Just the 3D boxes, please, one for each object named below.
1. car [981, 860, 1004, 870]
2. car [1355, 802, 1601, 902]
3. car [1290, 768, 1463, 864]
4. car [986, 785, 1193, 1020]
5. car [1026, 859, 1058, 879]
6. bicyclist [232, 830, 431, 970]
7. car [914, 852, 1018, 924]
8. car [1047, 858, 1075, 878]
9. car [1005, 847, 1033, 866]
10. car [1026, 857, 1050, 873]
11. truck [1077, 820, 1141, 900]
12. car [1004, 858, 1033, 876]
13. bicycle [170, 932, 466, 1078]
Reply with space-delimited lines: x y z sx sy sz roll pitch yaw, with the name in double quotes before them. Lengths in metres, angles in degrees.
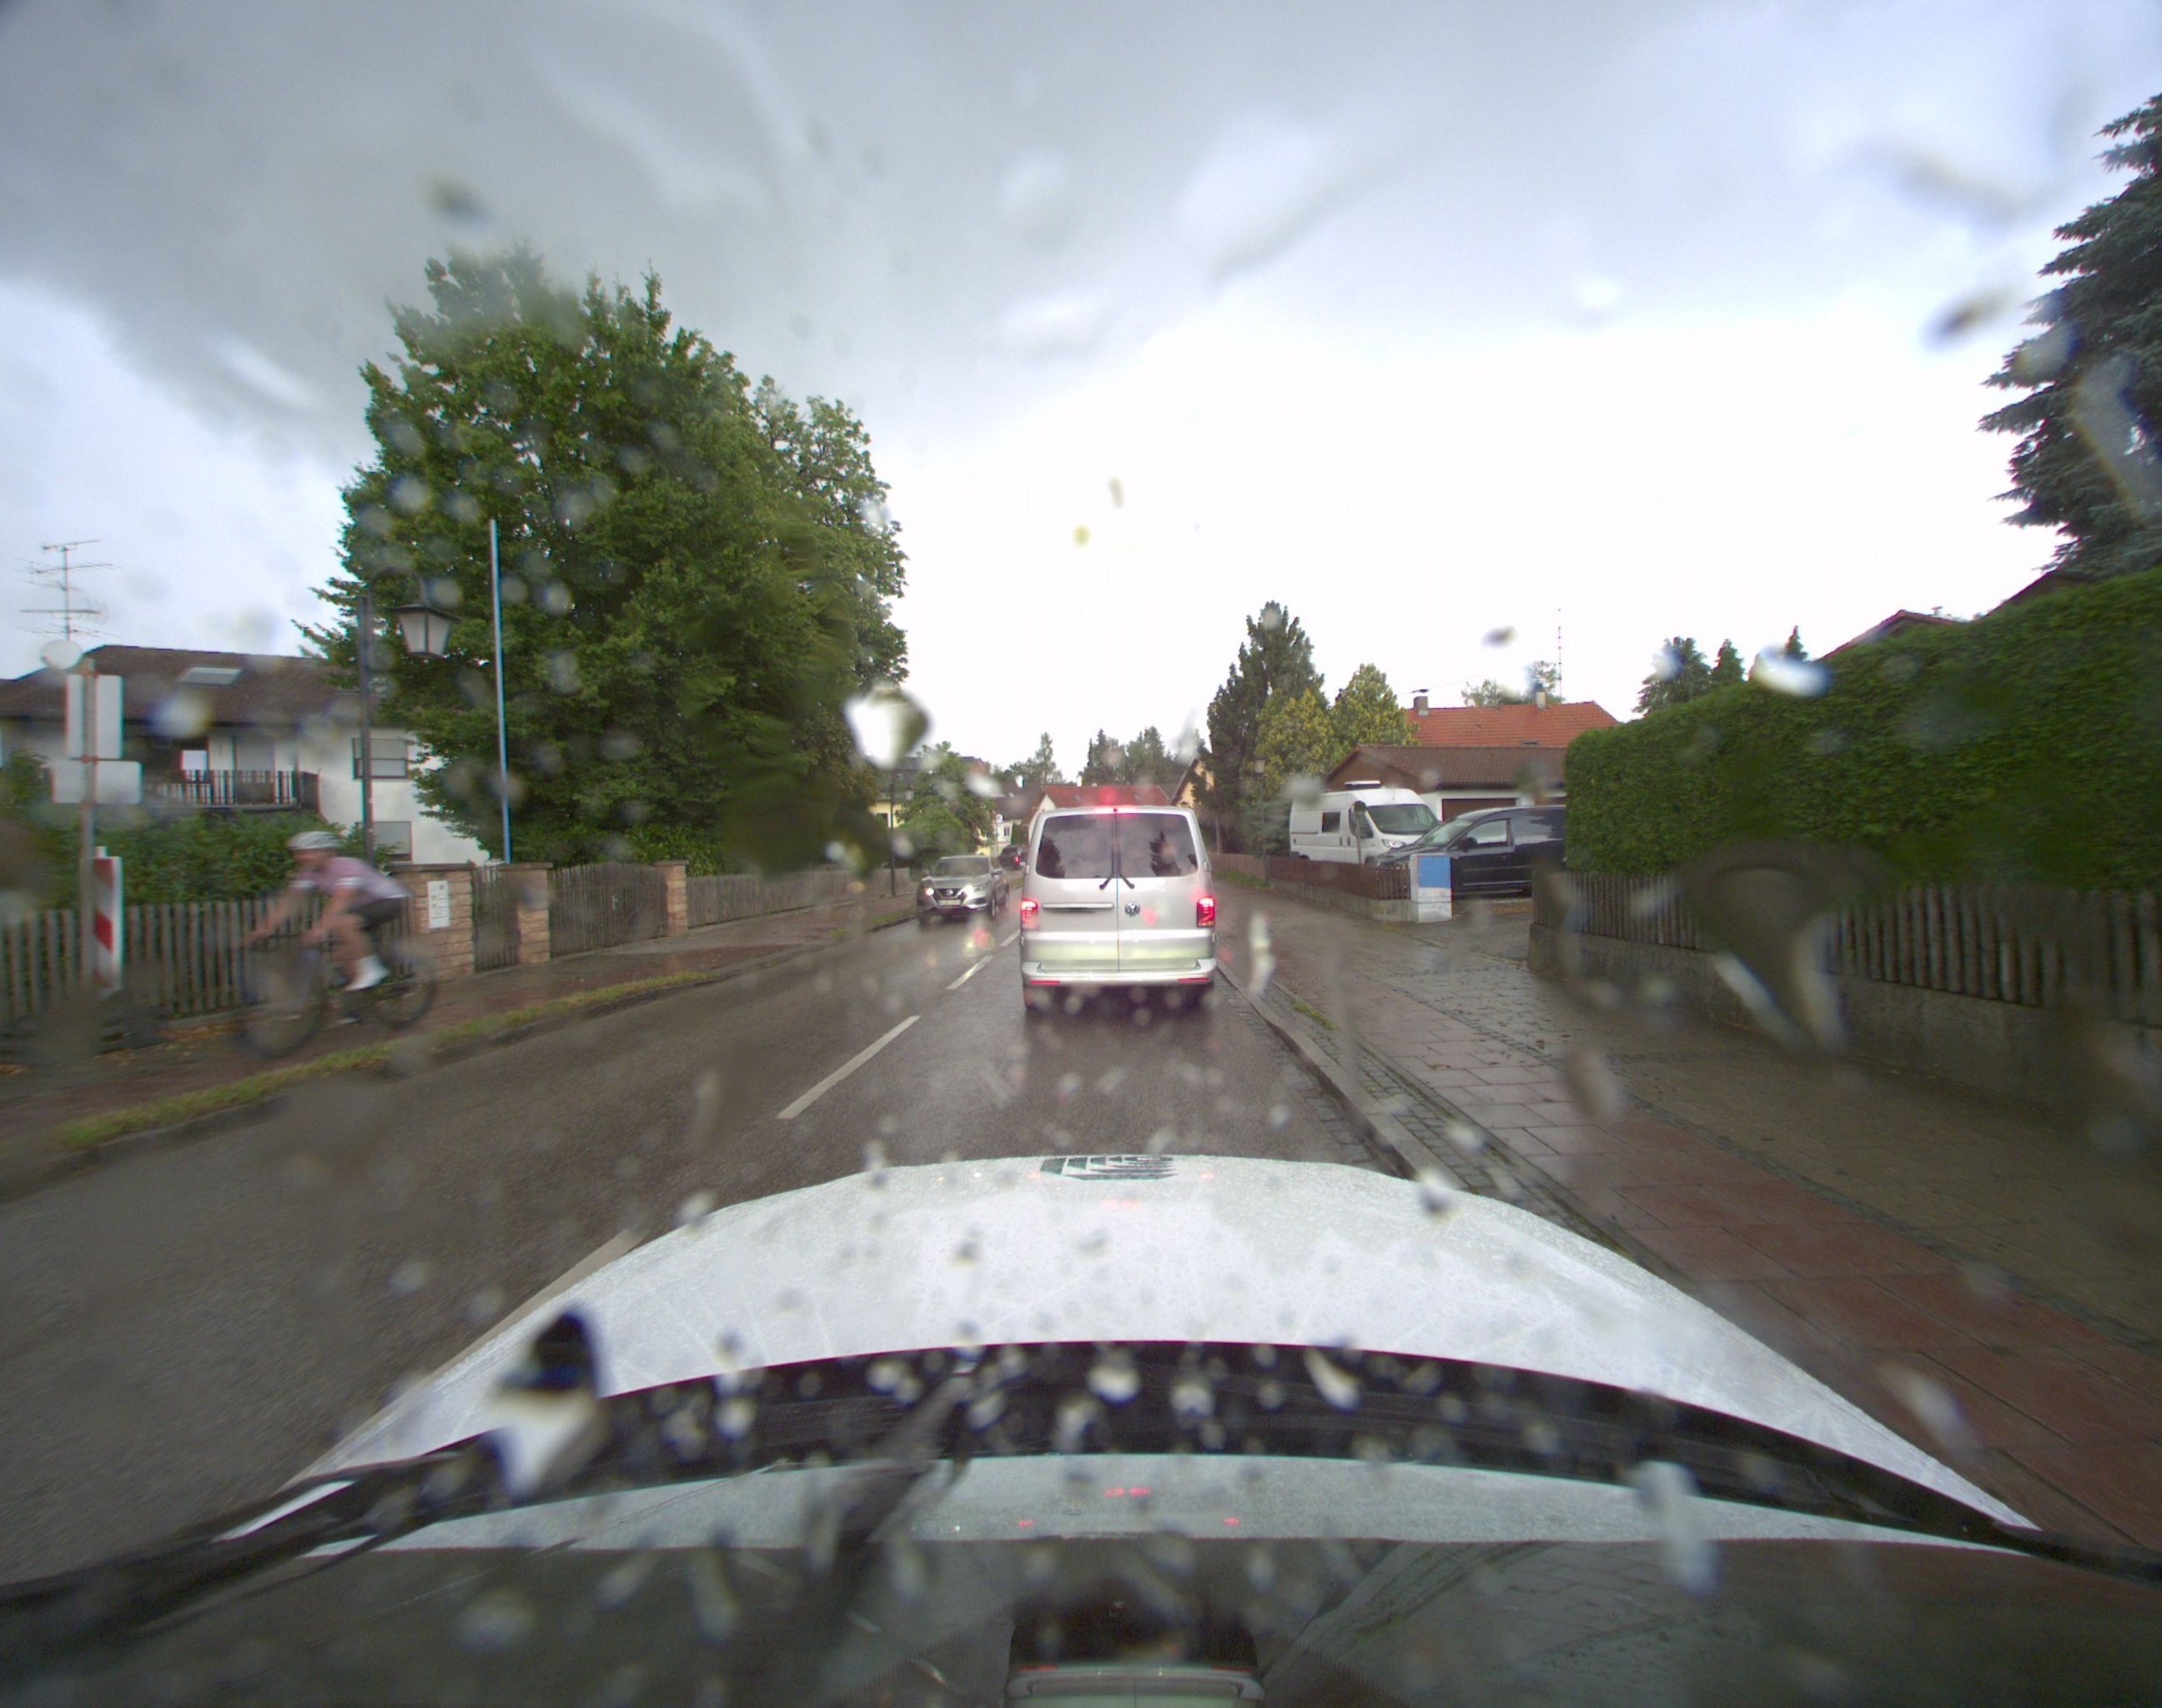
"car" -10.974 1.351 100.834 1.789 1.310 3.744 0 -1 -26
"car" 7.793 -0.071 16.225 4.082 1.751 1.693 -2 2 -2
"car" 7.496 -0.840 21.281 1.994 2.173 4.933 0 -1 -11
"car" 0.225 0.439 9.050 1.792 2.014 4.005 0 -1 4
"car" -4.067 1.548 84.967 2.003 2.014 3.967 1 -1 -25
"bicyclist" -5.938 0.342 6.521 0.585 1.021 1.061 -1 0 1
"car" -2.757 0.790 20.424 1.820 1.558 4.179 -2 -1 2
"car" -1.333 0.915 53.893 1.775 1.310 3.773 0 -1 -2
"car" -6.963 0.303 90.466 2.001 2.014 3.970 0 -1 -22
"car" -3.748 0.976 70.464 1.779 1.310 3.764 0 -1 -9
"truck" 1.161 0.265 34.561 2.466 3.074 6.298 0 -1 2
"car" -6.956 1.431 90.275 2.002 1.927 3.968 0 -1 -24
"bicycle" -5.922 1.116 6.513 0.454 0.798 1.978 -1 0 2
